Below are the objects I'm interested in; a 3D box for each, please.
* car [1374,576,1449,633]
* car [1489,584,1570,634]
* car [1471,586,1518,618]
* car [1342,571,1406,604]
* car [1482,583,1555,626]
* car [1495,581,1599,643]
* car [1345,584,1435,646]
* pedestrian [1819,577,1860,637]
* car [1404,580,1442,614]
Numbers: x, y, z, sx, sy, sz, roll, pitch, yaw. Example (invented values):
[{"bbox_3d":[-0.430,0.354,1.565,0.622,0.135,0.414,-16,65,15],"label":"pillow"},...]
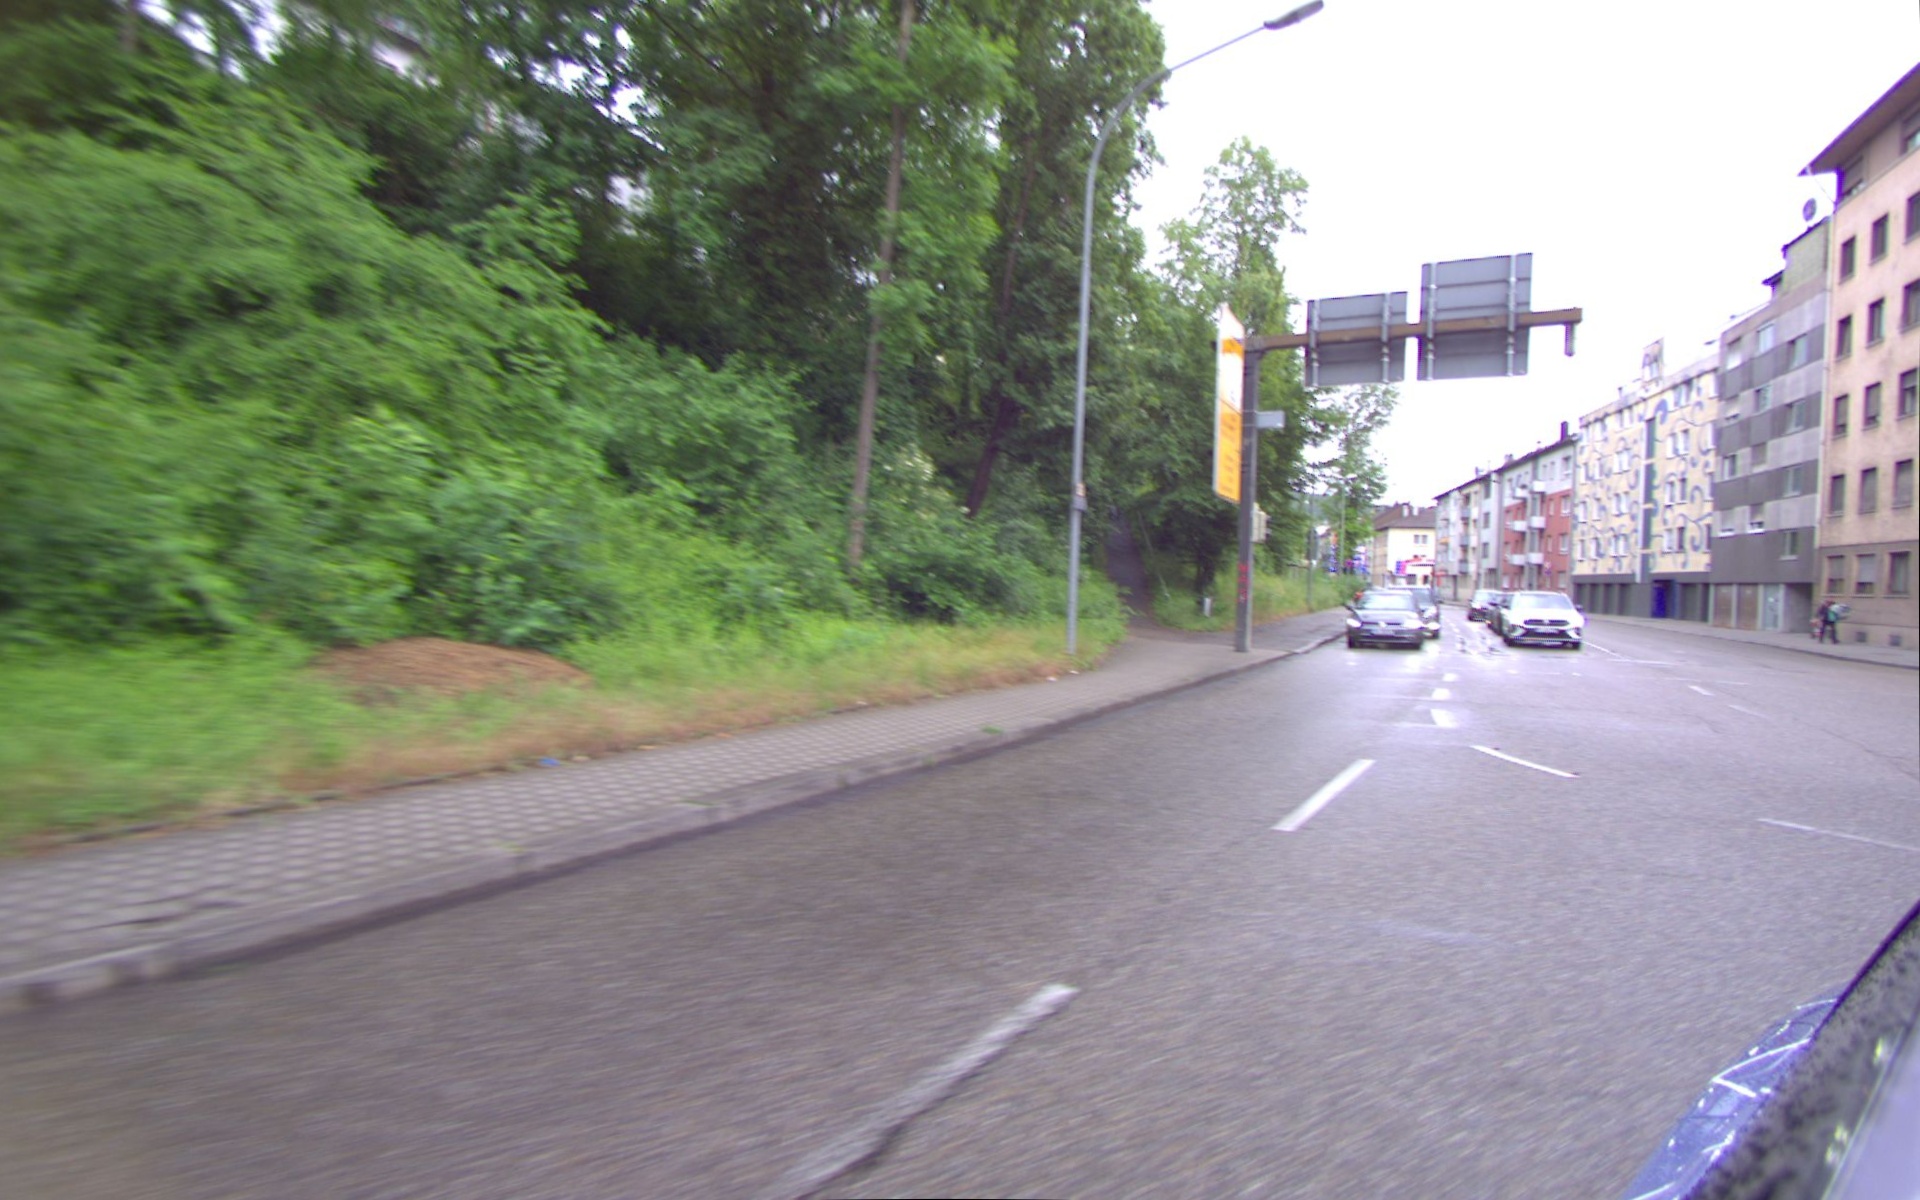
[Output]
[{"bbox_3d":[14.508,0.098,32.396,1.981,1.637,4.577,2,1,27],"label":"car"},{"bbox_3d":[19.231,0.241,34.336,1.900,1.496,4.582,3,2,24],"label":"car"},{"bbox_3d":[25.296,0.060,47.975,1.694,1.411,3.967,2,1,24],"label":"car"},{"bbox_3d":[26.855,-0.840,65.808,1.960,2.038,4.493,1,1,-5],"label":"car"},{"bbox_3d":[21.829,0.128,39.688,1.978,1.496,4.584,2,2,23],"label":"car"},{"bbox_3d":[16.017,0.262,27.834,1.858,1.496,4.519,2,2,23],"label":"car"},{"bbox_3d":[11.252,0.332,26.319,1.803,1.426,4.191,2,1,28],"label":"car"},{"bbox_3d":[30.600,0.252,35.229,0.801,2.039,0.852,1,0,22],"label":"pedestrian"},{"bbox_3d":[24.795,-0.183,54.271,1.663,1.676,3.969,2,2,23],"label":"car"}]
